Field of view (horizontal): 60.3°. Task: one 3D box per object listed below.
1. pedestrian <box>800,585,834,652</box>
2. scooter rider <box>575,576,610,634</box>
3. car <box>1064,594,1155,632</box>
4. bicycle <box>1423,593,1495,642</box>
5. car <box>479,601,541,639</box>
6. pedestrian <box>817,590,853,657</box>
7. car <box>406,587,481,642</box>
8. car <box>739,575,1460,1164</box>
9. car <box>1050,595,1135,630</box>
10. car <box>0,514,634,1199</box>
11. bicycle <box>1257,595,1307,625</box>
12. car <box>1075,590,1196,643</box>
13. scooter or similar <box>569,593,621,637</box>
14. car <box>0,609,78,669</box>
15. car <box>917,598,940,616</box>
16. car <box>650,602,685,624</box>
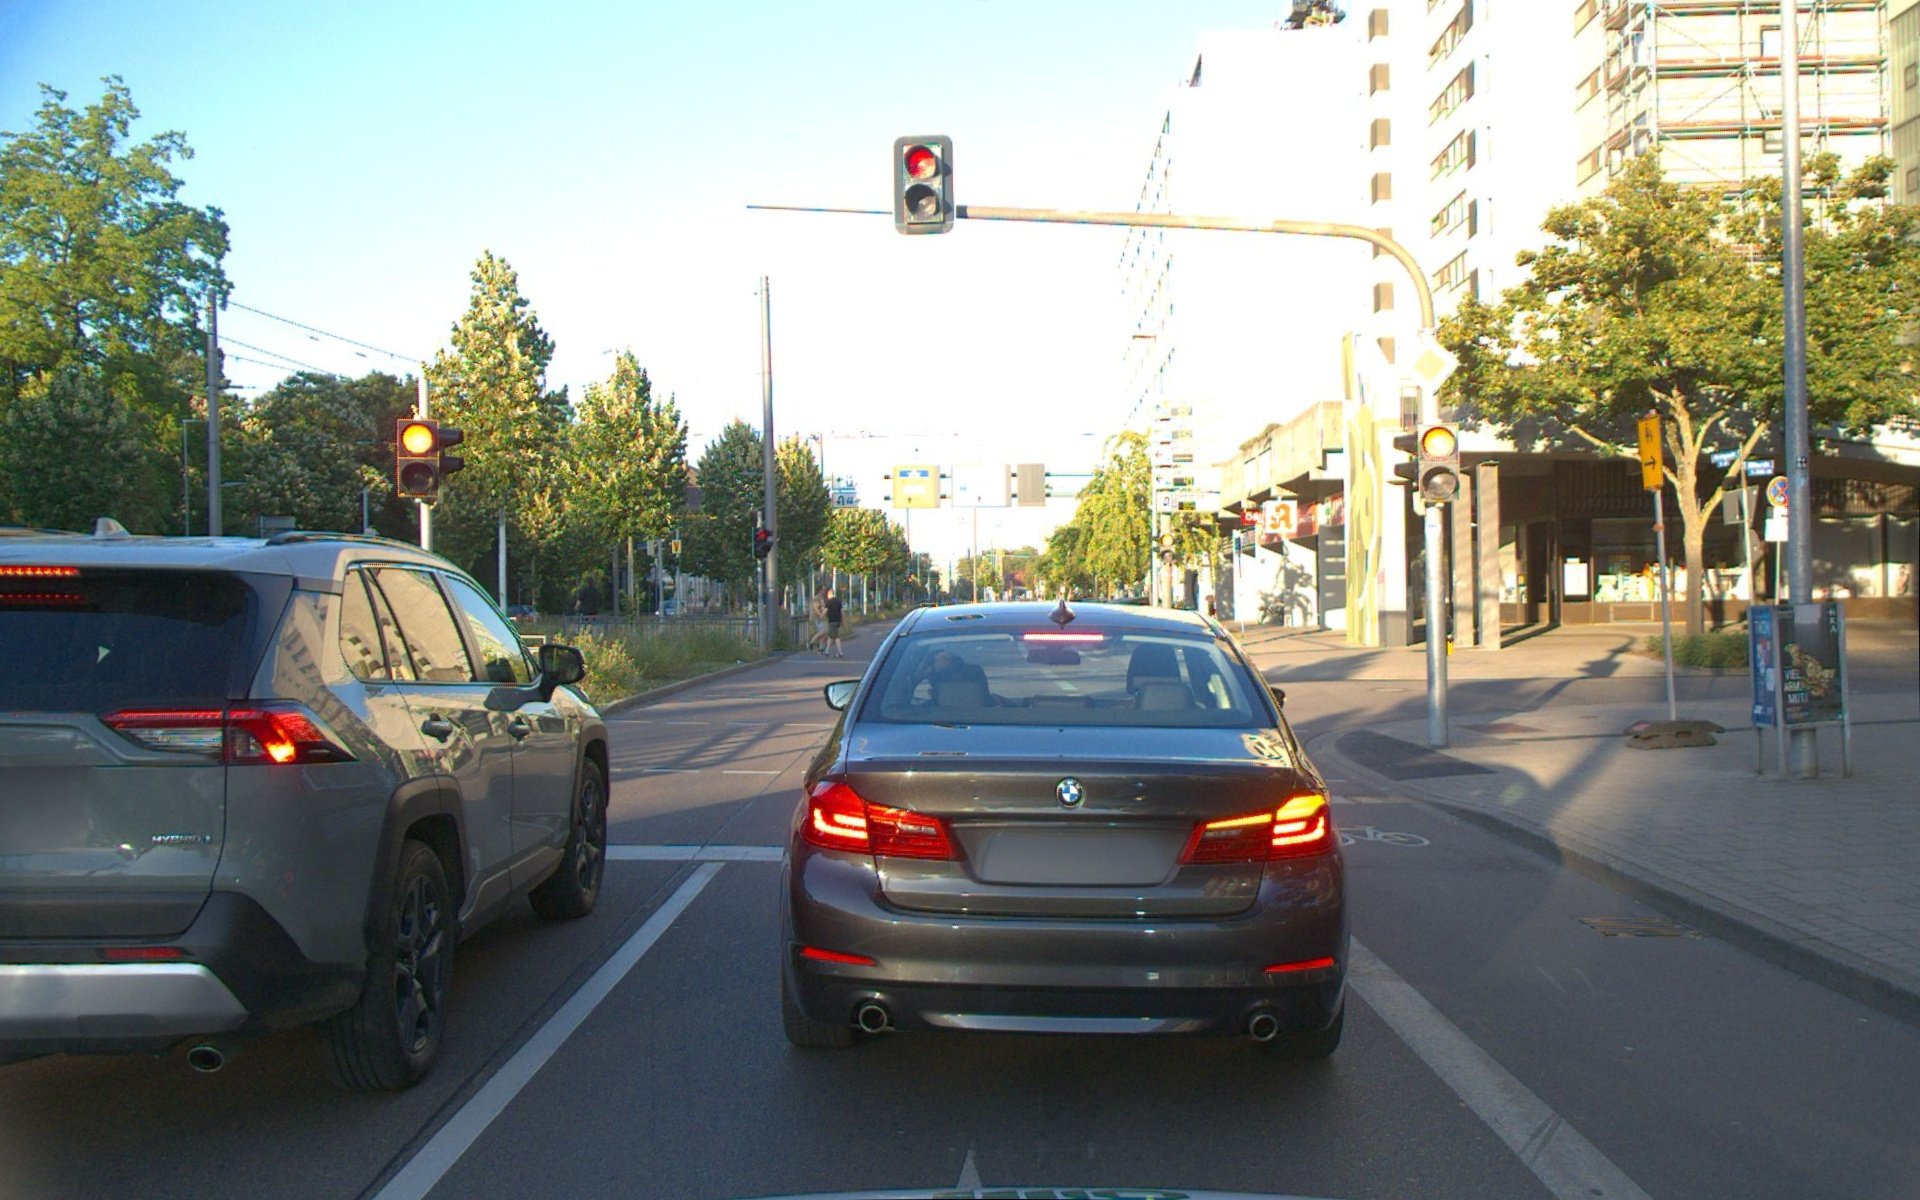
[{"bbox_3d":[-3.757,0.477,43.496,0.818,1.742,0.647,-1,0,-2],"label":"pedestrian"},{"bbox_3d":[-10.058,0.132,45.297,0.804,1.540,0.652,-1,0,-3],"label":"scooter rider"},{"bbox_3d":[7.159,0.593,79.237,4.221,1.687,1.837,-1,1,-36],"label":"car"},{"bbox_3d":[12.497,0.428,41.513,0.678,1.169,2.012,2,-1,-18],"label":"bicycle"},{"bbox_3d":[-22.817,0.994,84.084,1.953,1.775,4.750,0,1,-2],"label":"car"},{"bbox_3d":[-3.094,0.576,40.898,0.818,1.614,0.812,-1,0,-2],"label":"pedestrian"},{"bbox_3d":[-22.180,0.600,71.176,1.954,2.206,4.748,0,1,-3],"label":"car"},{"bbox_3d":[0.468,0.673,6.629,1.892,1.507,4.524,0,1,3],"label":"car"},{"bbox_3d":[6.846,0.620,85.238,4.219,1.687,1.838,0,1,-36],"label":"car"},{"bbox_3d":[-2.458,0.593,6.048,1.817,1.687,4.267,0,1,-2],"label":"car"},{"bbox_3d":[13.461,0.404,69.154,1.974,1.169,0.691,2,-1,6],"label":"bicycle"},{"bbox_3d":[6.035,0.536,56.693,4.234,1.687,1.831,-1,1,-43],"label":"car"},{"bbox_3d":[-9.985,0.412,45.268,1.303,1.173,0.513,-1,0,-3],"label":"scooter or similar"},{"bbox_3d":[-26.634,1.081,45.306,1.951,1.507,4.527,1,1,10],"label":"car"},{"bbox_3d":[-2.799,0.598,146.952,1.938,1.458,4.843,0,1,0],"label":"car"},{"bbox_3d":[-20.522,0.913,116.074,1.763,1.507,3.783,-1,0,0],"label":"car"}]
